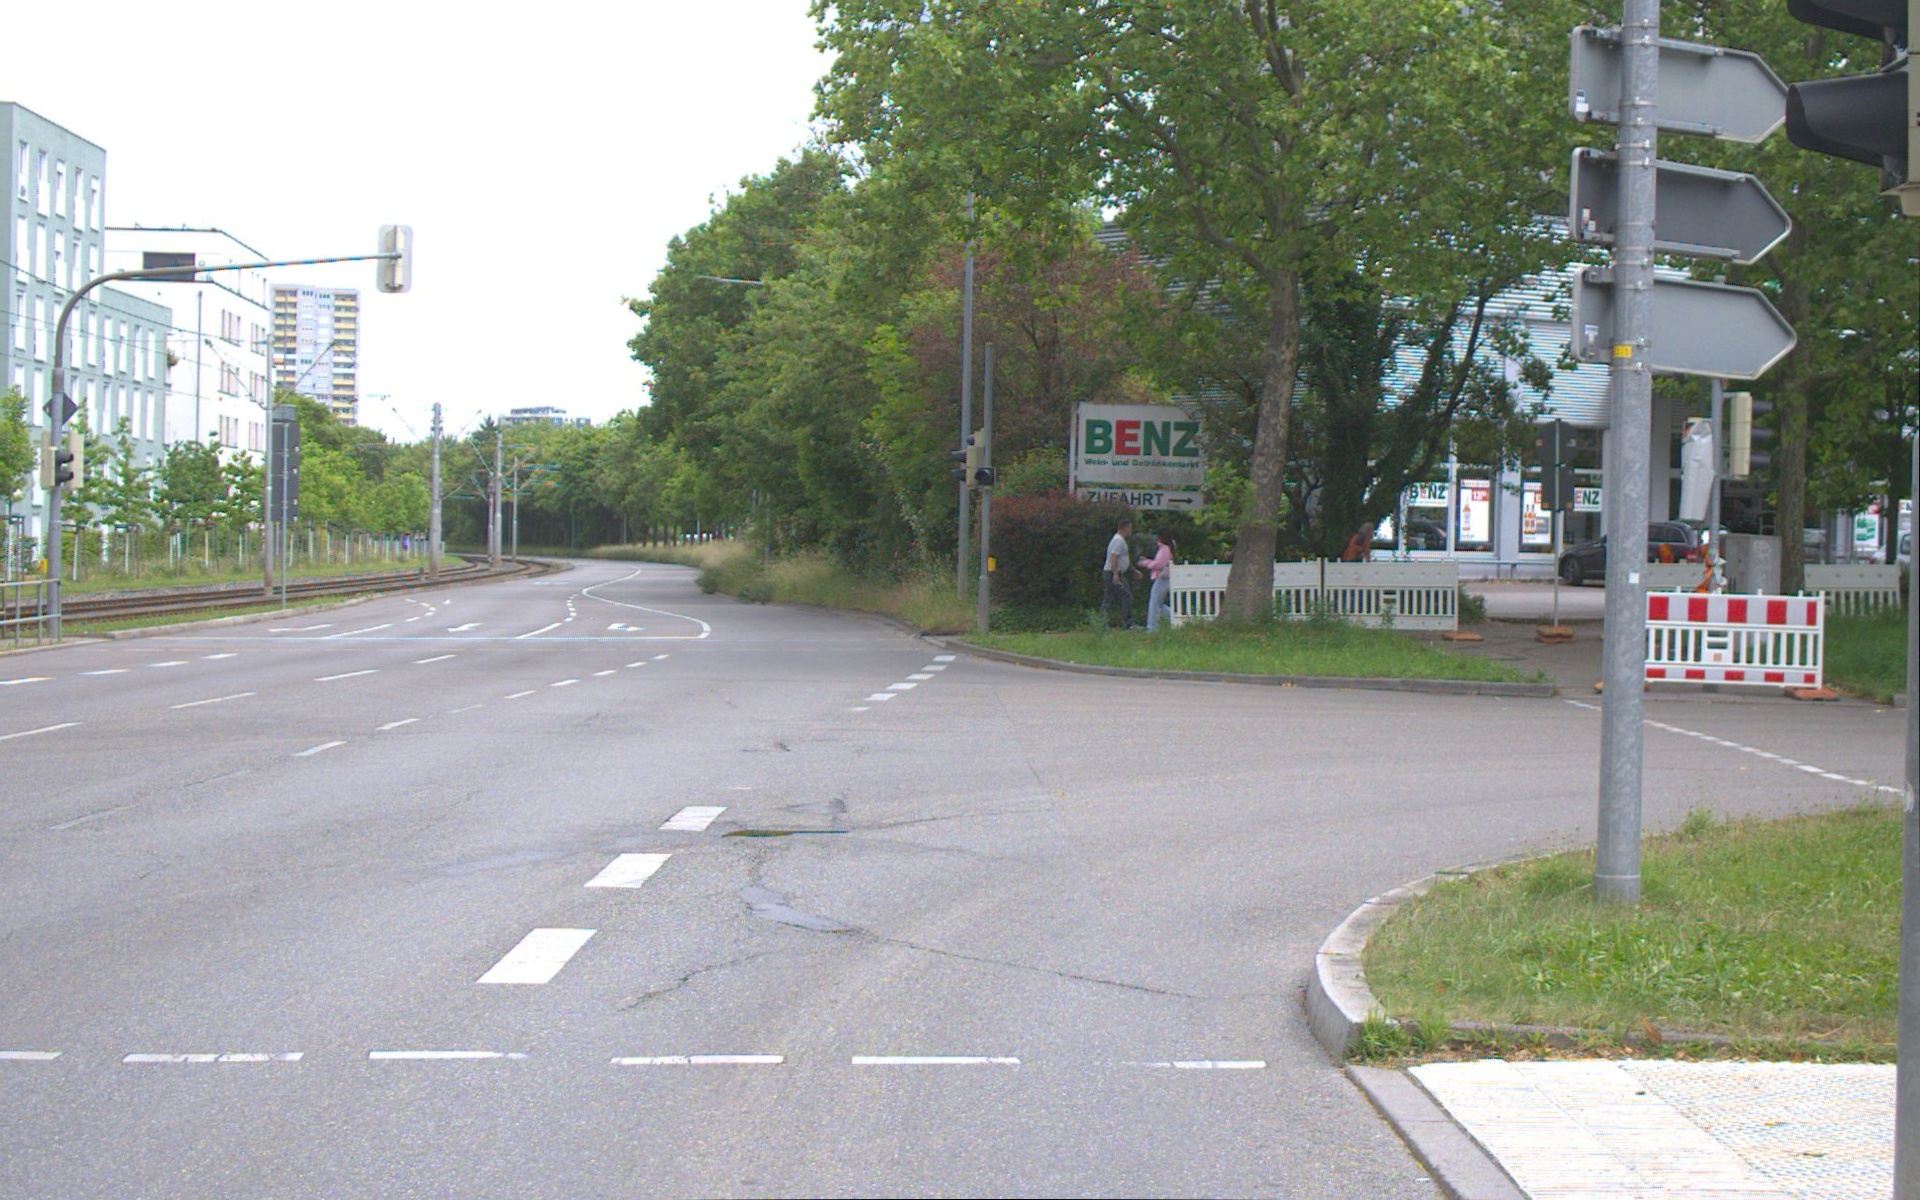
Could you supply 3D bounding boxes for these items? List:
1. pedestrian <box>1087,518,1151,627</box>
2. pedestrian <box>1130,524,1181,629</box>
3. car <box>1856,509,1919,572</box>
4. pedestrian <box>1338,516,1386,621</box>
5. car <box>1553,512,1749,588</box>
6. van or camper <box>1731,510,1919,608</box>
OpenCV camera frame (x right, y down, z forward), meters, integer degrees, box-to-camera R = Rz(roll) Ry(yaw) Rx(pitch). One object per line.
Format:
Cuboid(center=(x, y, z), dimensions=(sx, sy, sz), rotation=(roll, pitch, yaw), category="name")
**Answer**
Cuboid(center=(2.339, -0.408, 50.676), dimensions=(0.848, 1.581, 0.796), rotation=(1, 0, -3), category="pedestrian")
Cuboid(center=(2.801, -0.341, 49.293), dimensions=(0.697, 1.484, 0.688), rotation=(1, 0, 4), category="pedestrian")
Cuboid(center=(21.921, -1.330, 77.228), dimensions=(1.480, 1.399, 3.409), rotation=(1, 0, -31), category="car")
Cuboid(center=(5.952, -0.464, 50.979), dimensions=(0.653, 1.533, 0.772), rotation=(1, 0, 5), category="pedestrian")
Cuboid(center=(14.329, -1.040, 71.532), dimensions=(1.728, 1.495, 4.269), rotation=(1, 0, -26), category="car")
Cuboid(center=(15.733, -0.750, 61.014), dimensions=(1.840, 1.678, 4.001), rotation=(0, 1, -27), category="van or camper")
